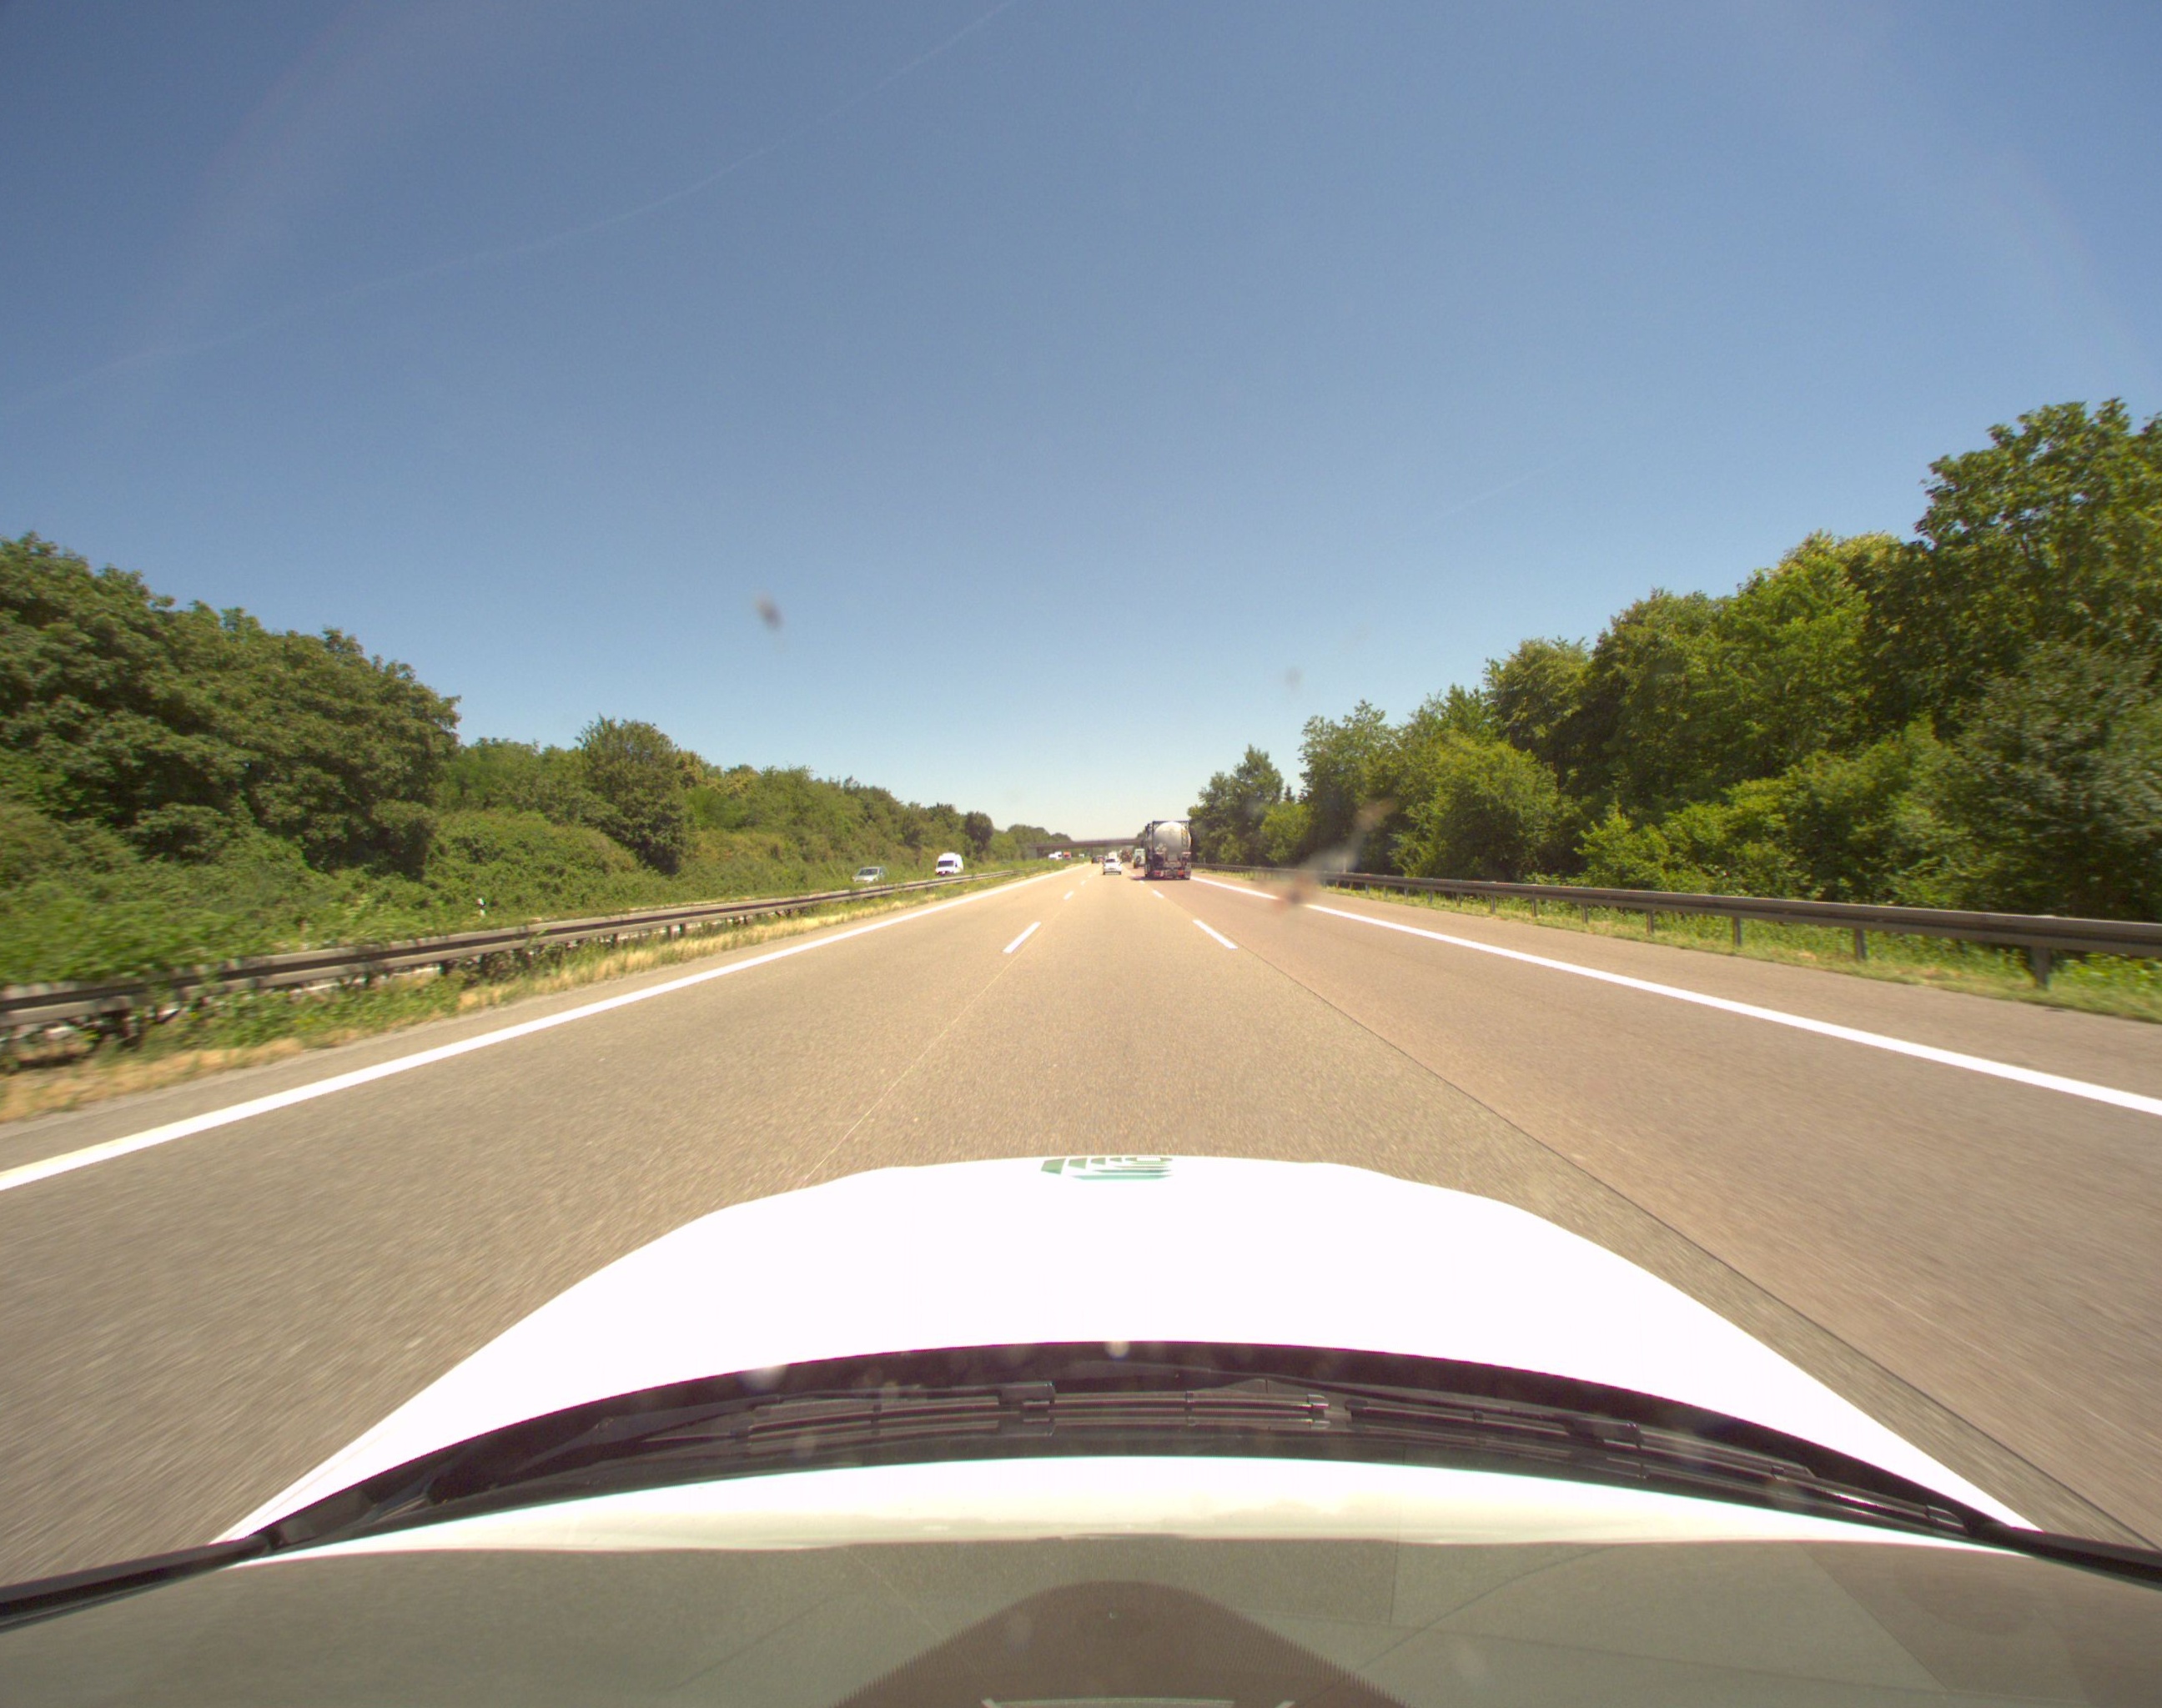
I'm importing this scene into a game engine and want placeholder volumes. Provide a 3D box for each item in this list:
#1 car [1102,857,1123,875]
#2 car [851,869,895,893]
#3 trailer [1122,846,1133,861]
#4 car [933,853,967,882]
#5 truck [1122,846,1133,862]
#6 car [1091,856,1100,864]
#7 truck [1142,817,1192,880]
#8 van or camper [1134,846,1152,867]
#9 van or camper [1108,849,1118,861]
[{"bbox_3d":[2.896,1.079,75.174,1.850,1.652,4.001,0,0,2],"label":"car"},{"bbox_3d":[-14.390,1.855,56.584,1.735,1.508,4.417,0,0,2],"label":"car"},{"bbox_3d":[12.141,-0.100,212.723,2.642,3.958,13.648,-1,0,3],"label":"trailer"},{"bbox_3d":[-13.446,1.328,84.012,2.028,2.746,6.660,-3,-1,2],"label":"car"},{"bbox_3d":[12.580,0.016,219.956,2.658,3.994,6.641,-1,0,3],"label":"truck"},{"bbox_3d":[3.445,1.471,195.228,2.044,2.014,4.178,0,0,2],"label":"car"},{"bbox_3d":[6.084,-0.309,59.671,2.788,4.046,13.361,0,0,2],"label":"truck"},{"bbox_3d":[8.464,0.371,111.523,2.105,2.703,6.370,-1,0,2],"label":"van or camper"},{"bbox_3d":[7.183,0.318,181.843,2.049,2.622,5.990,-1,0,3],"label":"van or camper"}]
